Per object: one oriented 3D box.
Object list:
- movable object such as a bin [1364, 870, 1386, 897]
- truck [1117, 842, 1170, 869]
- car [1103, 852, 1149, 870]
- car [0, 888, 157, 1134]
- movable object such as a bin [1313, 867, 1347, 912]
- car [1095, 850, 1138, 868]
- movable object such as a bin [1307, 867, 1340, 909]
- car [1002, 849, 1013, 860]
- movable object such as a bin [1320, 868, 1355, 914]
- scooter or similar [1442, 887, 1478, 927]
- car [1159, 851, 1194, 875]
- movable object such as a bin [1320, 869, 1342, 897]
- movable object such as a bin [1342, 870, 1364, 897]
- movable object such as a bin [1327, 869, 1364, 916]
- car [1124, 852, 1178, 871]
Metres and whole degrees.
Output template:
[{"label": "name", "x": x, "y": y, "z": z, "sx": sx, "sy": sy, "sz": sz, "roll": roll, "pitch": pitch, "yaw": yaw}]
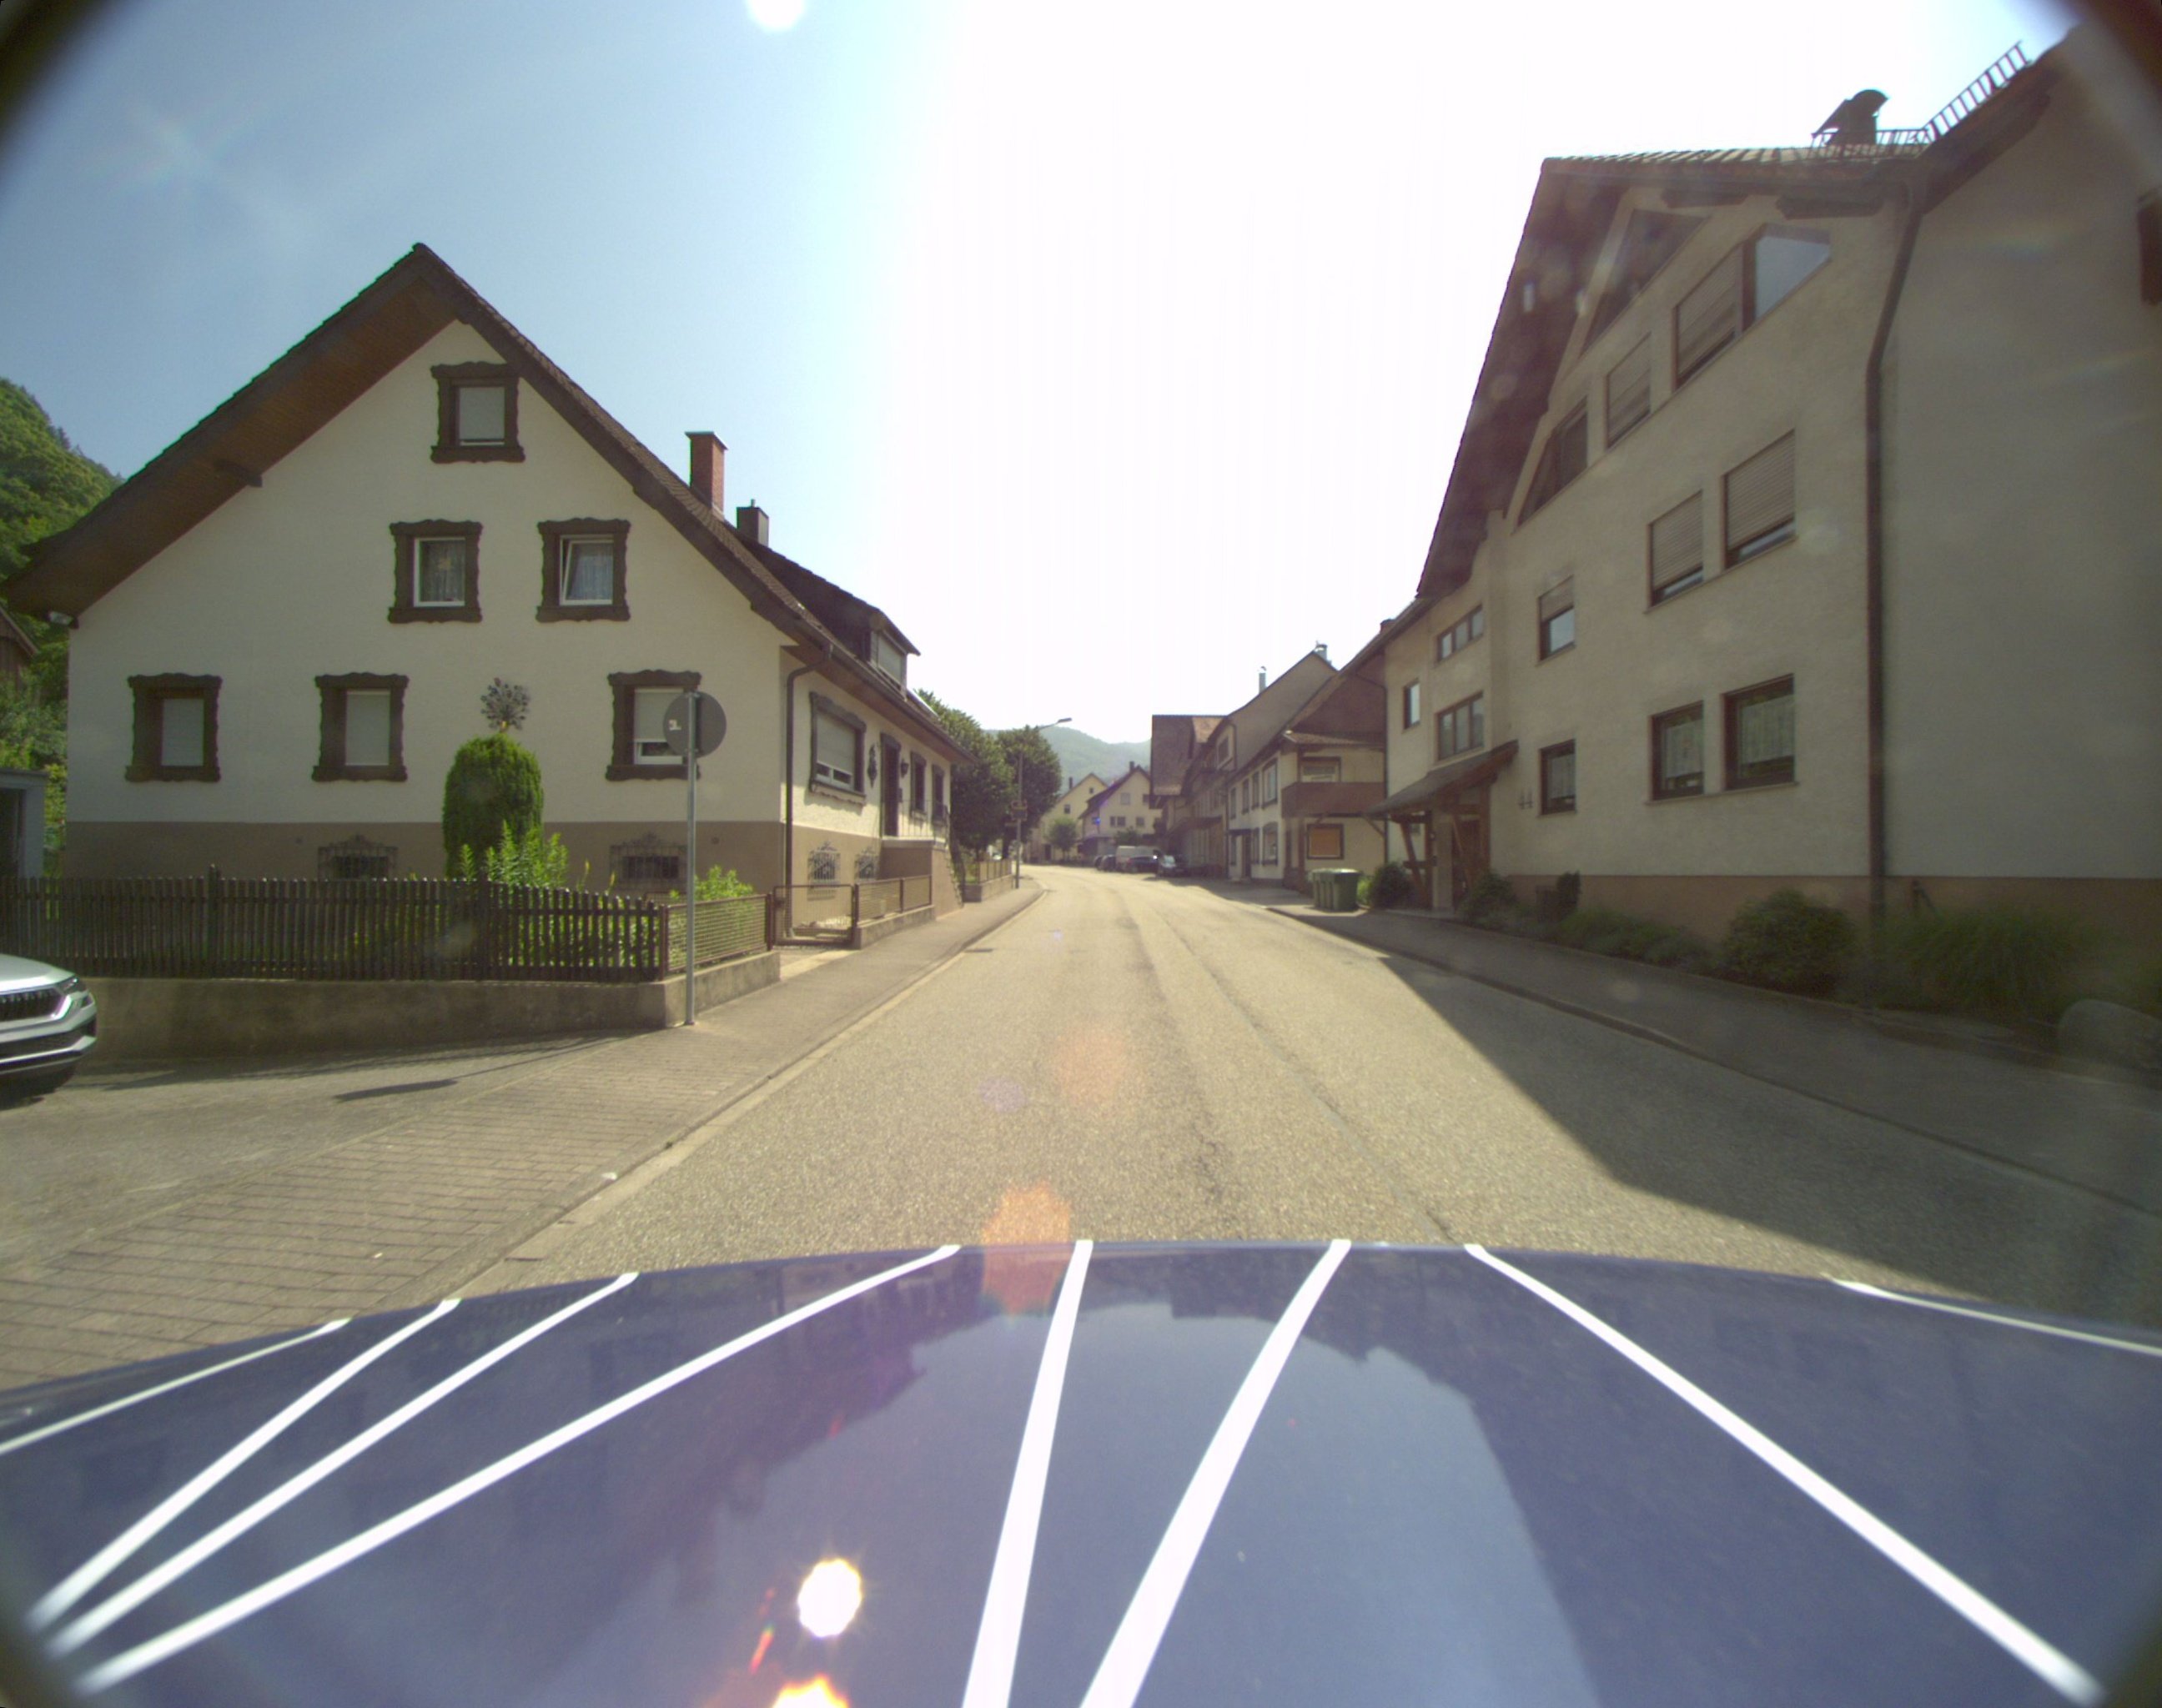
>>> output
[{"label": "movable object such as a bin", "x": 11.561, "y": 1.160, "z": 29.879, "sx": 0.599, "sy": 1.045, "sz": 0.600, "roll": 2, "pitch": 1, "yaw": 1}, {"label": "truck", "x": 5.317, "y": 0.123, "z": 64.990, "sx": 4.177, "sy": 2.253, "sz": 1.999, "roll": -1, "pitch": 1, "yaw": -4}, {"label": "car", "x": 4.042, "y": 0.617, "z": 68.965, "sx": 3.998, "sy": 1.444, "sz": 1.627, "roll": 2, "pitch": 0, "yaw": -3}, {"label": "car", "x": -9.156, "y": 1.154, "z": 5.071, "sx": 3.968, "sy": 1.581, "sz": 1.800, "roll": -3, "pitch": 0, "yaw": 5}, {"label": "movable object such as a bin", "x": 6.889, "y": 0.974, "z": 21.061, "sx": 0.719, "sy": 1.175, "sz": 0.598, "roll": 2, "pitch": 1, "yaw": 2}, {"label": "car", "x": 3.381, "y": 0.474, "z": 71.842, "sx": 3.996, "sy": 1.563, "sz": 1.577, "roll": 2, "pitch": 0, "yaw": 3}, {"label": "movable object such as a bin", "x": 6.925, "y": 0.965, "z": 21.720, "sx": 0.719, "sy": 1.175, "sz": 0.598, "roll": 2, "pitch": 1, "yaw": 2}, {"label": "car", "x": -13.764, "y": 0.169, "z": 142.834, "sx": 1.999, "sy": 2.001, "sz": 3.999, "roll": 2, "pitch": -1, "yaw": -4}, {"label": "movable object such as a bin", "x": 6.883, "y": 0.982, "z": 20.409, "sx": 0.719, "sy": 1.175, "sz": 0.598, "roll": 2, "pitch": 1, "yaw": 2}, {"label": "scooter or similar", "x": 7.953, "y": 1.107, "z": 15.958, "sx": 0.507, "sy": 0.821, "sz": 0.537, "roll": 0, "pitch": 0, "yaw": 1}, {"label": "car", "x": 6.560, "y": 0.573, "z": 52.616, "sx": 1.774, "sy": 1.544, "sz": 4.285, "roll": -1, "pitch": 0, "yaw": -1}, {"label": "movable object such as a bin", "x": 9.829, "y": 1.133, "z": 29.906, "sx": 0.623, "sy": 1.045, "sz": 0.696, "roll": 2, "pitch": 1, "yaw": 1}, {"label": "movable object such as a bin", "x": 10.688, "y": 1.153, "z": 29.849, "sx": 0.608, "sy": 1.045, "sz": 0.632, "roll": 2, "pitch": 1, "yaw": 1}, {"label": "movable object such as a bin", "x": 6.861, "y": 0.991, "z": 19.753, "sx": 0.719, "sy": 1.175, "sz": 0.598, "roll": 2, "pitch": 1, "yaw": 2}, {"label": "car", "x": 5.516, "y": 0.585, "z": 59.963, "sx": 4.105, "sy": 1.494, "sz": 1.753, "roll": 0, "pitch": 0, "yaw": 0}]
